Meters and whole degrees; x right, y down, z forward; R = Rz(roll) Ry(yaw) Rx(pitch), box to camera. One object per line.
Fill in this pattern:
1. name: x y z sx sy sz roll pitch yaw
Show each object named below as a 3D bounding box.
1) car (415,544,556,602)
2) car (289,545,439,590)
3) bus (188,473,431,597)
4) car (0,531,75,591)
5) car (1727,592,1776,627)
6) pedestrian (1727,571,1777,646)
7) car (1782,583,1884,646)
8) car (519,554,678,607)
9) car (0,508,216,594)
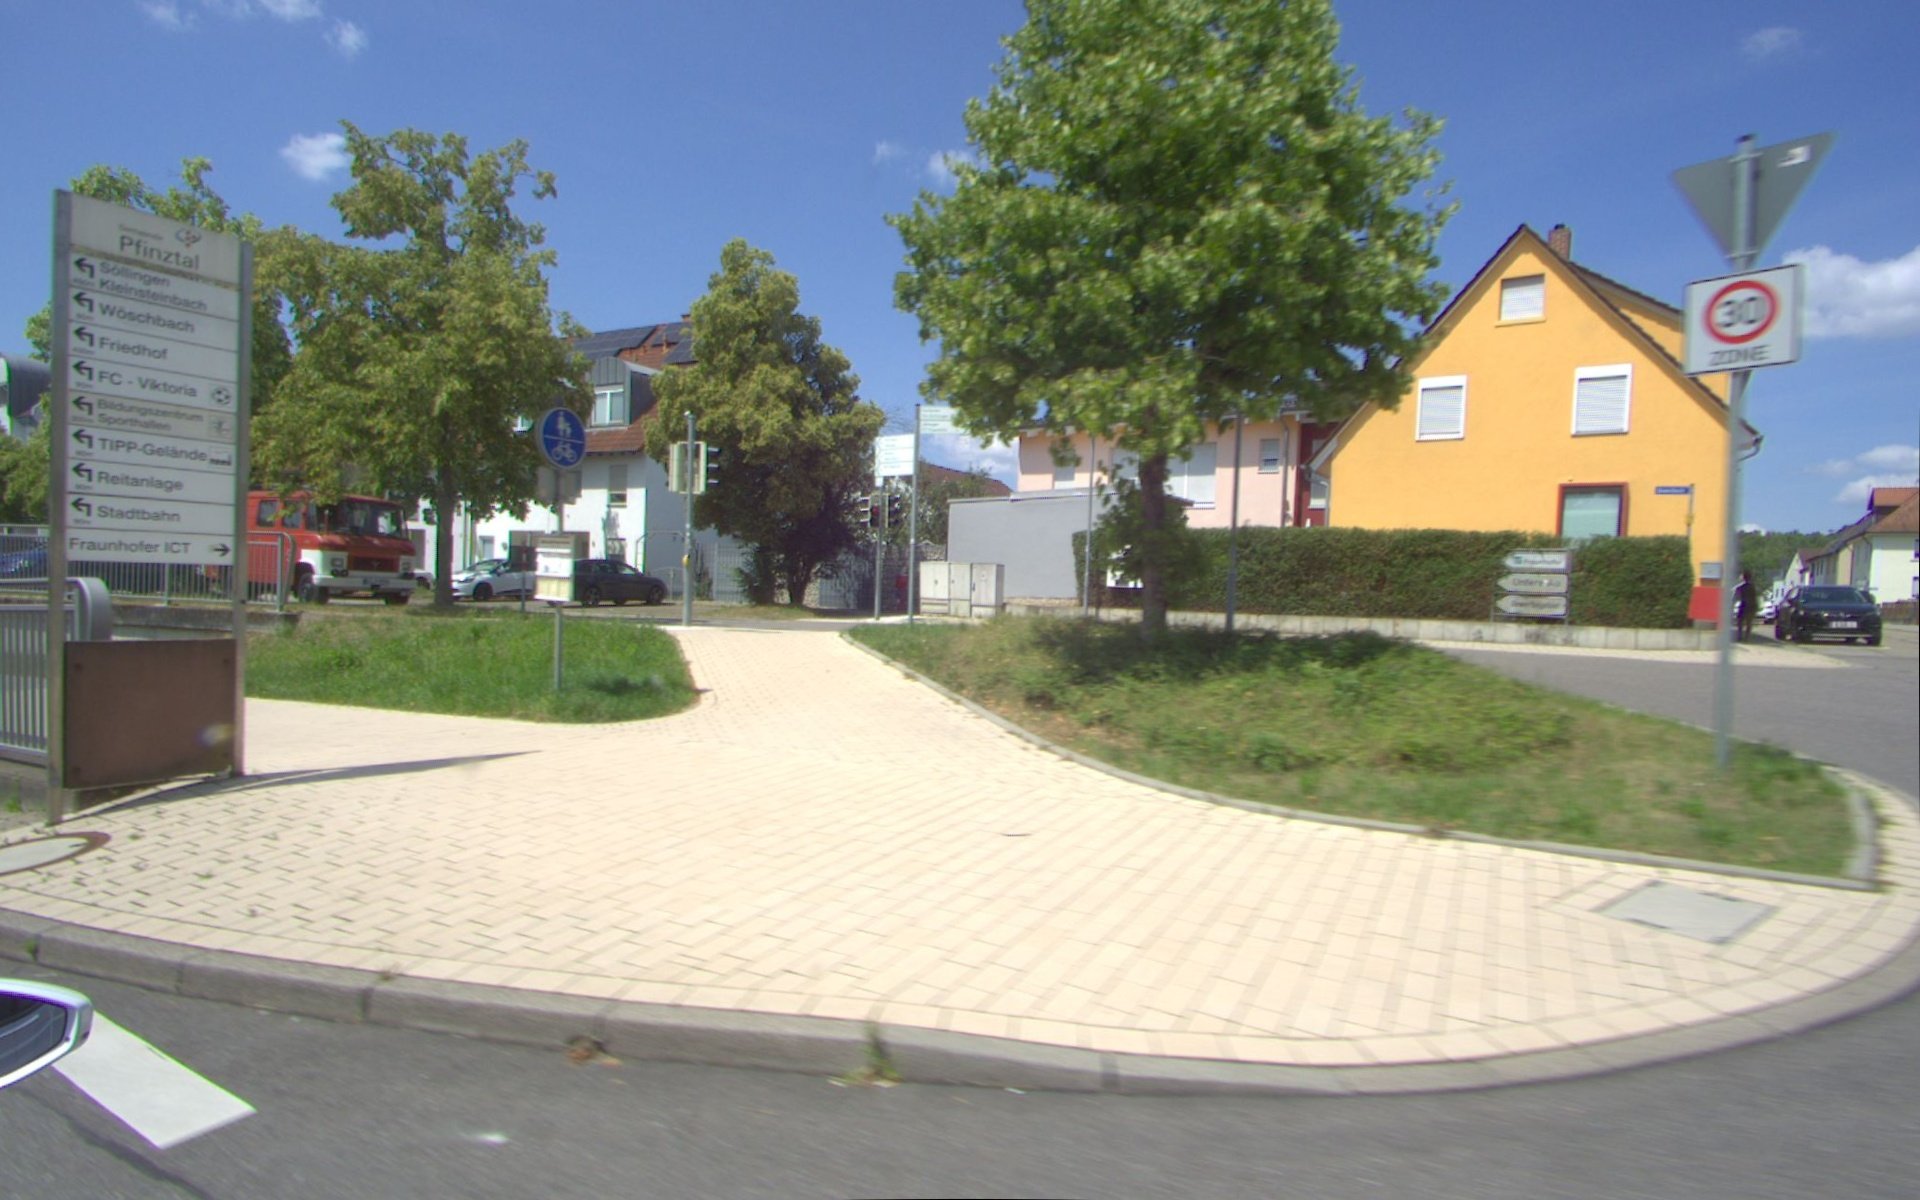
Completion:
1. car: -15.940 -0.839 33.854 1.835 1.650 3.986 -1 -3 28
2. car: -22.321 -1.193 37.703 1.969 1.499 4.478 3 2 30
3. bus: -14.118 -1.402 21.668 5.279 2.399 2.186 4 3 29
4. car: -25.018 -1.033 25.068 1.699 1.447 3.980 2 0 32
5. car: 38.995 0.487 49.388 1.621 1.647 3.774 2 0 35
6. pedestrian: 19.683 0.205 24.915 0.681 1.772 0.869 9 6 34
7. car: 23.906 0.411 27.558 1.621 1.559 3.977 2 0 35
8. car: -11.255 -0.601 31.468 1.969 1.499 4.478 3 2 30
9. car: -20.347 -1.061 23.725 1.831 1.650 3.994 0 -2 20
